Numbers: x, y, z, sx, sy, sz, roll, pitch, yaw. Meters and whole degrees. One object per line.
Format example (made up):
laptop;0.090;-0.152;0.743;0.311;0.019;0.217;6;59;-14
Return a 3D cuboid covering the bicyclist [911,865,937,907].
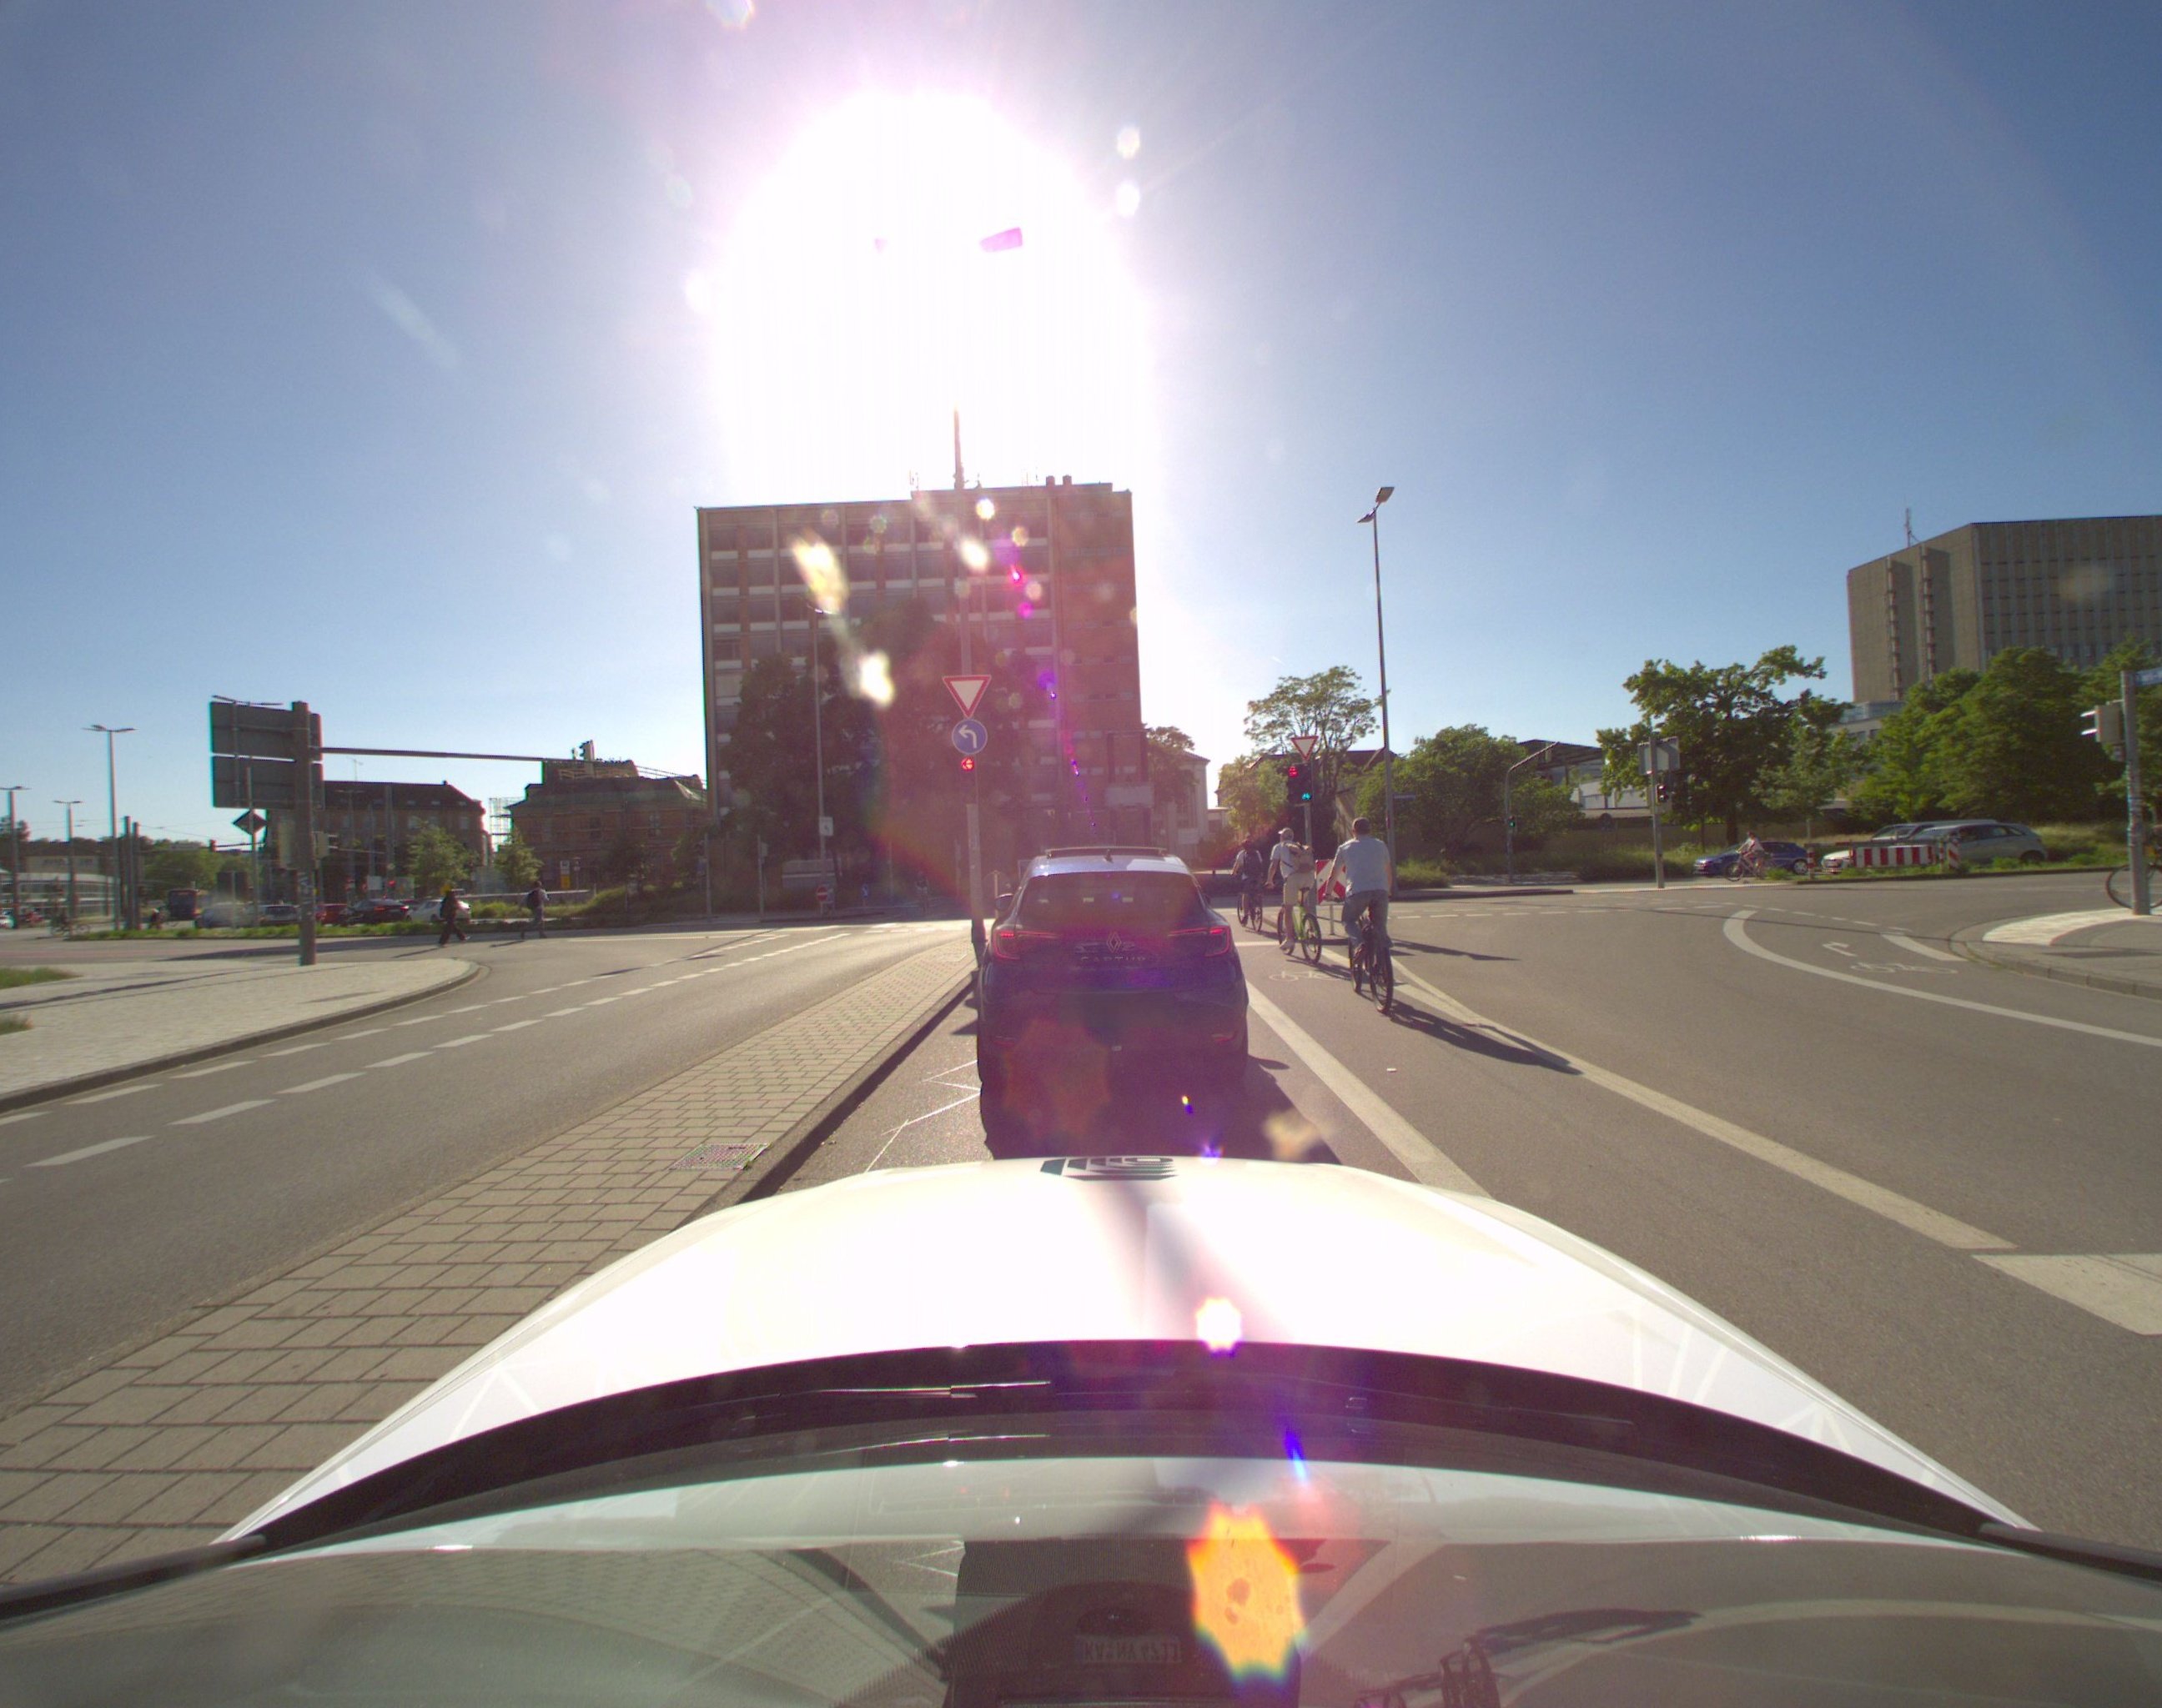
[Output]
bicyclist;-6.608;1.340;34.304;0.751;1.716;1.001;-2;-1;7

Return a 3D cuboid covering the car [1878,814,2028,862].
car;35.867;-0.617;33.608;3.965;1.749;1.798;-2;-1;7

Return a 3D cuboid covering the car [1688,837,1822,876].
car;28.131;0.107;34.107;3.965;1.398;1.798;-3;-1;7

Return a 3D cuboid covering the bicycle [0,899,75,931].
bicycle;-72.819;4.212;56.100;4.019;2.013;1.977;-2;-1;-37

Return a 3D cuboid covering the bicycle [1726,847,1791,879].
bicycle;24.136;0.322;29.035;1.673;1.033;0.612;-2;-1;7

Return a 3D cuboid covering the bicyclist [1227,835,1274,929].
bicyclist;3.340;0.543;16.142;0.697;1.791;1.142;-1;-1;2

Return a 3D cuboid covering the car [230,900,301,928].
car;-48.869;3.604;48.801;3.834;1.508;1.805;-3;-1;25

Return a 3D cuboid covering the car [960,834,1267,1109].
car;0.195;0.704;6.777;1.783;1.585;3.913;-1;0;0

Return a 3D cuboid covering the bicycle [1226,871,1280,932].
bicycle;3.354;0.898;16.062;0.687;1.089;1.923;-1;0;2

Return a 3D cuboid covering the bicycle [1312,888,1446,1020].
bicycle;2.934;0.935;8.235;0.687;1.089;1.923;-1;0;2

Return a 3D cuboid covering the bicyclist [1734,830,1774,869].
bicyclist;24.002;-0.158;29.054;0.870;1.343;0.612;-2;-1;7

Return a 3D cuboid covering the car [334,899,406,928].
car;-42.555;3.564;48.736;3.834;1.508;1.805;-3;-1;25

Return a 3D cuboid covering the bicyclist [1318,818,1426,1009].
bicyclist;2.922;0.564;8.287;0.680;1.791;1.142;-1;-1;2

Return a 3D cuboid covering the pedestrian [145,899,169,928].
pedestrian;-62.430;4.038;55.001;0.722;1.865;0.884;-3;-1;27

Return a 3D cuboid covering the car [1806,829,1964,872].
car;30.293;-0.135;30.793;3.965;1.398;1.798;-3;-1;7

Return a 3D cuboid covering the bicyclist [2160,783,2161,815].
bicyclist;16.024;-0.226;11.472;0.635;1.646;0.903;-2;-1;-39

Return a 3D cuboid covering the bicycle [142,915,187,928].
bicycle;-75.155;5.516;66.798;0.887;0.883;2.250;-3;0;13

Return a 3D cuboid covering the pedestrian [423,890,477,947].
pedestrian;-17.910;1.811;23.135;0.647;1.527;0.984;-3;-1;15

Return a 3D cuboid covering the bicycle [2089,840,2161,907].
bicycle;15.912;0.268;11.626;0.640;0.958;1.866;-2;-1;-39

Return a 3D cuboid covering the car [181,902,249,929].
car;-54.918;3.892;51.633;3.834;1.508;1.805;-3;-1;25

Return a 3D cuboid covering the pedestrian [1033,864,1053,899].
pedestrian;-2.111;1.512;45.115;0.807;1.862;0.913;-3;-1;15

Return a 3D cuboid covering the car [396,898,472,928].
car;-36.399;3.337;45.832;3.834;1.508;1.805;-3;-1;25

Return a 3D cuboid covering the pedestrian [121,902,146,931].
pedestrian;-63.907;4.235;54.931;0.723;1.865;0.883;-3;-1;22

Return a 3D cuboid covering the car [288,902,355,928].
car;-48.212;3.870;51.705;3.834;1.508;1.805;-3;-1;25

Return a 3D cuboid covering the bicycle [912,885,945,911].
bicycle;-6.509;1.881;34.835;0.751;0.985;2.098;-2;0;8

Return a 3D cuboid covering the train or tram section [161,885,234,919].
train or tram section;-98.822;5.273;91.291;2.710;3.232;10.495;0;-1;-31

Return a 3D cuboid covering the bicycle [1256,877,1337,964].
bicycle;3.048;0.903;11.714;0.687;1.089;1.923;-1;0;2

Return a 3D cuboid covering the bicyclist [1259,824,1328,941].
bicyclist;3.044;0.394;11.759;0.676;1.594;1.142;-1;-1;1

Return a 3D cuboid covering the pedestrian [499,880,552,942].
pedestrian;-16.279;1.644;23.899;0.647;1.730;1.066;-3;-1;15

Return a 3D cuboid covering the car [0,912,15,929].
car;-111.932;6.858;83.965;1.753;1.651;3.952;-2;-1;-42

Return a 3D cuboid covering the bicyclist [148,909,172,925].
bicyclist;-75.244;5.145;66.536;0.887;1.166;0.971;-3;-1;13

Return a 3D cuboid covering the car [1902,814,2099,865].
car;29.217;-0.433;26.001;3.965;1.398;1.798;-3;-1;7

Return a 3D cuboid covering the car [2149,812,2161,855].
car;36.898;-0.762;25.331;4.534;1.398;1.798;-3;-1;7
